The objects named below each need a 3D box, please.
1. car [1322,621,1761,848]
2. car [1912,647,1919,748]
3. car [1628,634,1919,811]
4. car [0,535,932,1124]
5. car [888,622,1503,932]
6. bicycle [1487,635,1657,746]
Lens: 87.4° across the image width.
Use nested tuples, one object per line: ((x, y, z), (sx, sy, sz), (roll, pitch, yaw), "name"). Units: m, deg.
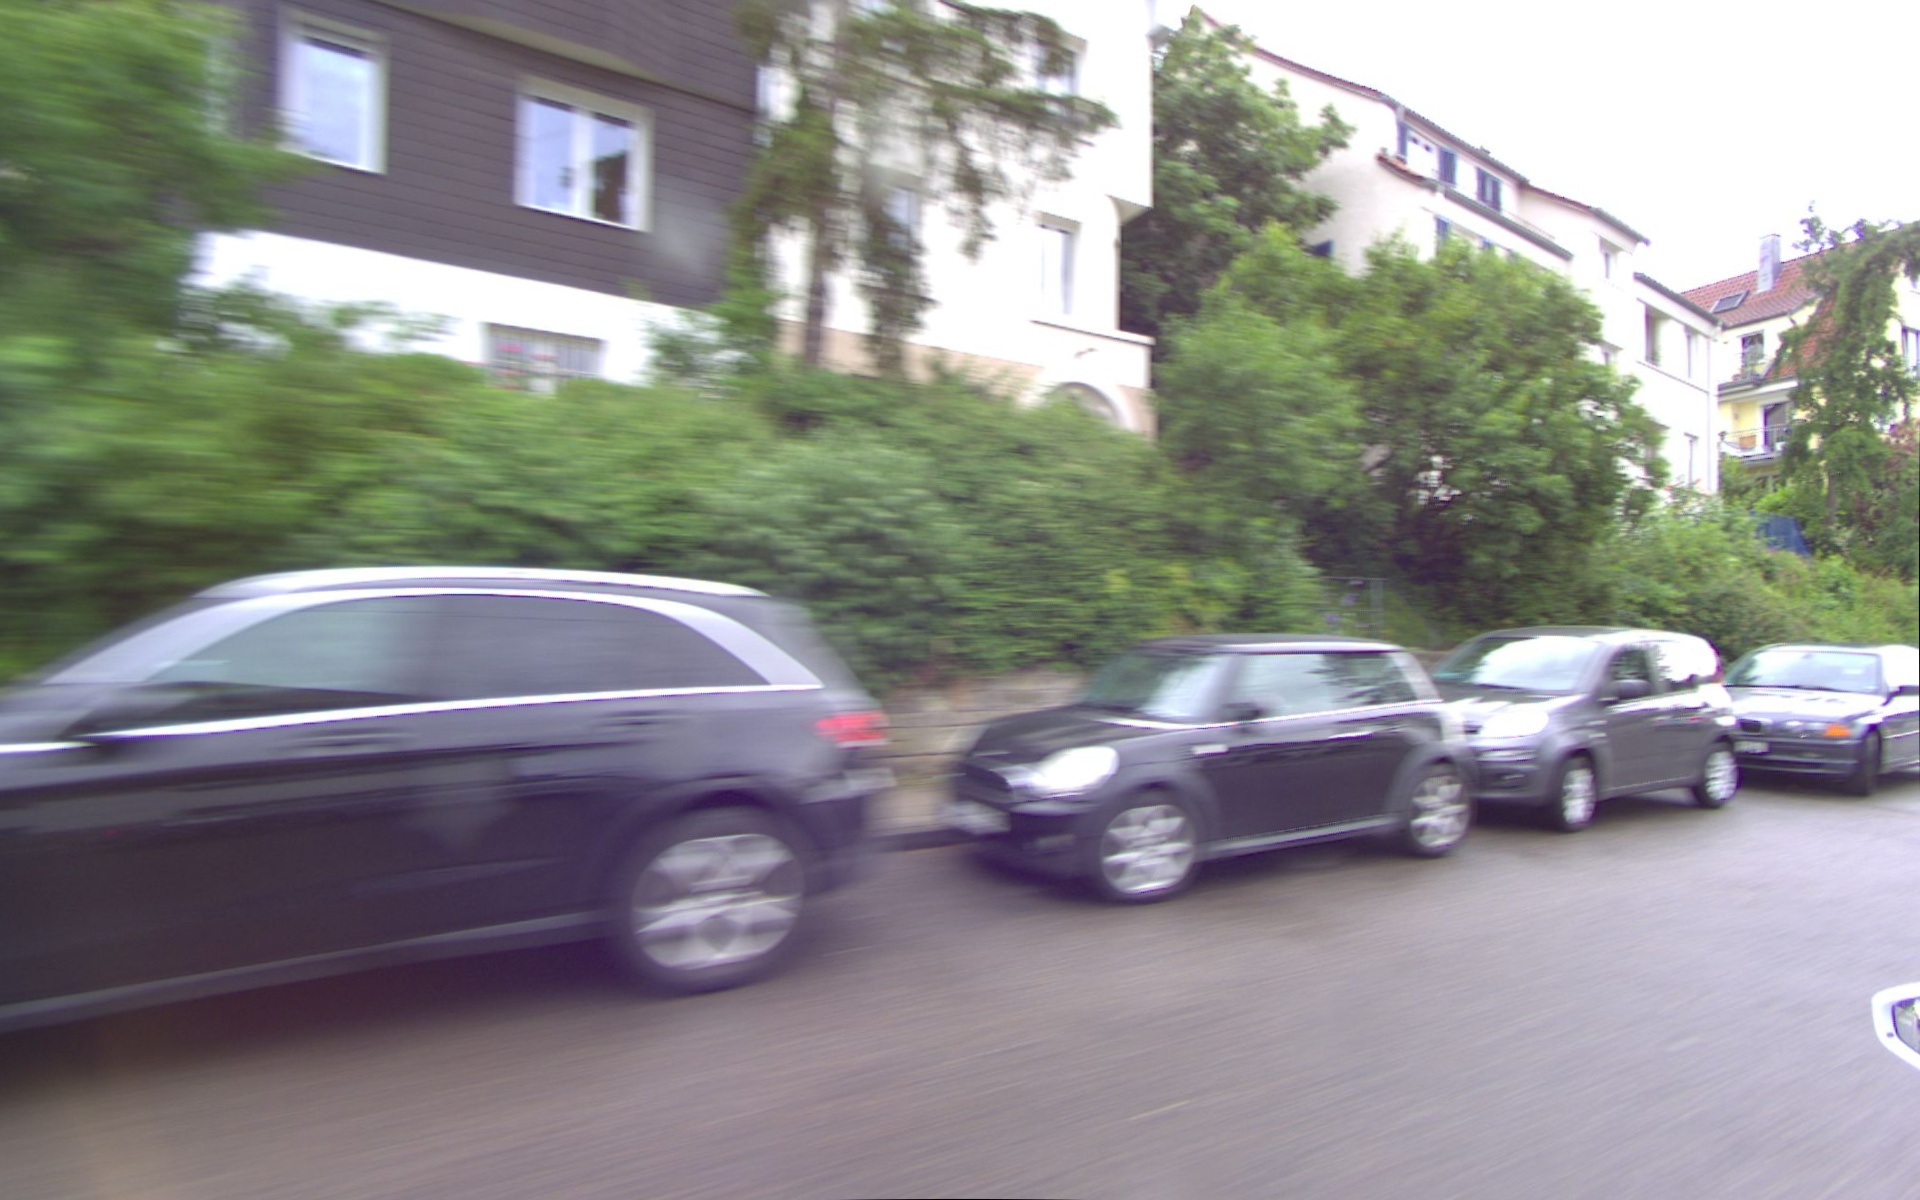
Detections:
((5.090, 0.995, 8.696), (3.770, 1.561, 1.688), (2, -1, -31), "car")
((15.979, 1.426, 15.018), (3.586, 1.466, 1.638), (0, 0, -31), "car")
((9.328, 1.166, 10.915), (4.365, 1.466, 1.747), (0, 0, -31), "car")
((-2.446, 0.668, 4.084), (4.332, 1.644, 1.882), (2, -1, -33), "car")
((1.616, 0.912, 6.731), (3.768, 1.466, 1.885), (0, 0, -30), "car")
((8.246, 1.162, 13.509), (2.264, 1.318, 0.999), (0, 0, -30), "bicycle")
